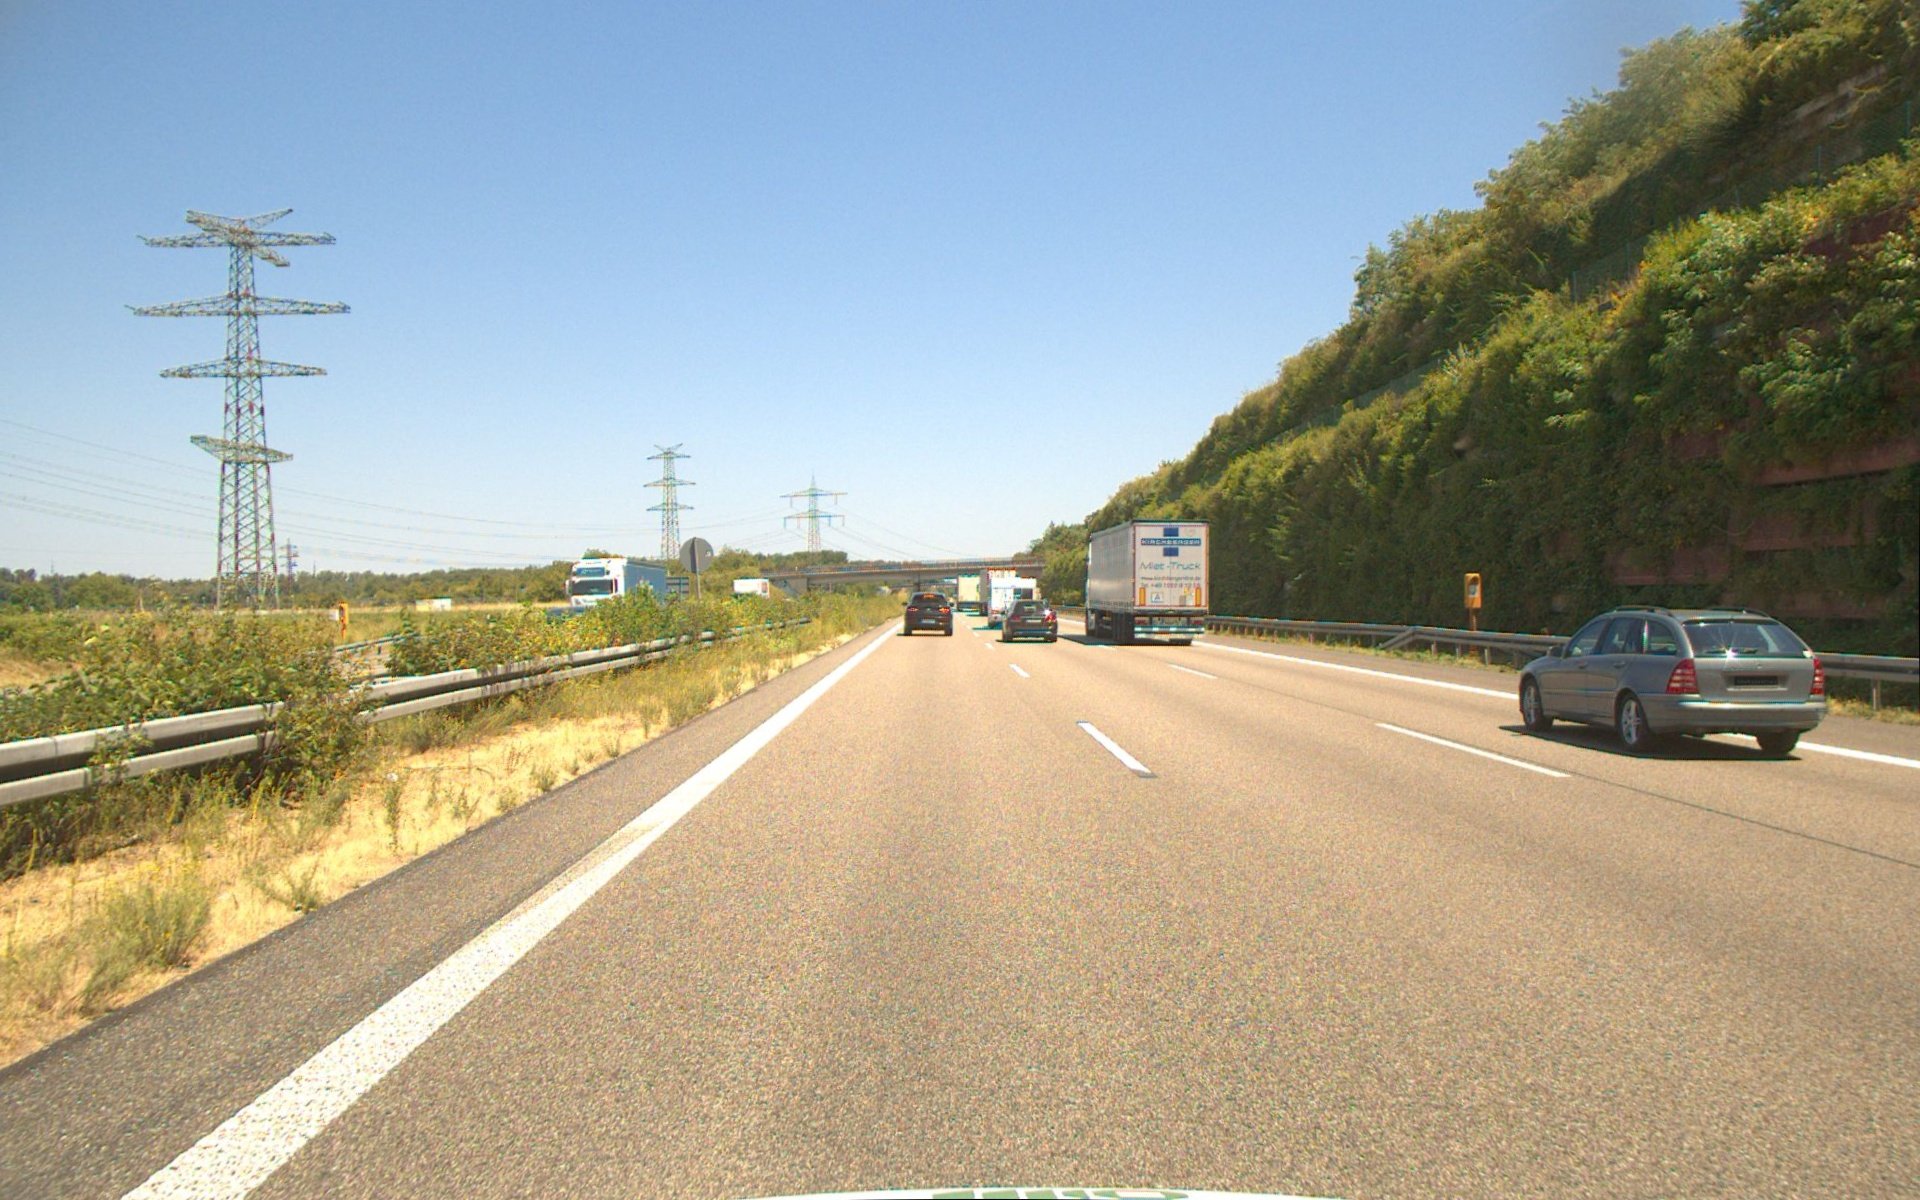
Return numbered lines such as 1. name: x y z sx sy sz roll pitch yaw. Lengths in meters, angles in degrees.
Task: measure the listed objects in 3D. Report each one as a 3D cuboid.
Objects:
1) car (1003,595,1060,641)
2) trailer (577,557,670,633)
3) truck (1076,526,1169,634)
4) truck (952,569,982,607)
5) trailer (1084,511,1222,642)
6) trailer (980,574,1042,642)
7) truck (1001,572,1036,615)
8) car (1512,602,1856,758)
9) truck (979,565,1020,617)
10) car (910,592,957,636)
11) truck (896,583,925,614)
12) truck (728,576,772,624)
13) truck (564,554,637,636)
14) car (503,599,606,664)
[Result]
1. car: 2.507 0.602 58.727 1.792 1.552 3.999 -1 0 -1
2. trailer: -19.103 -0.292 94.836 2.638 4.006 13.906 -1 0 -1
3. truck: 6.580 -0.794 67.661 3.072 4.214 5.502 -1 0 -1
4. truck: 0.803 -1.347 195.839 3.340 4.355 10.605 0 0 -1
5. trailer: 6.741 -0.778 60.079 3.118 4.193 13.428 -1 0 -1
6. trailer: 2.538 0.375 86.010 2.558 3.269 9.949 -1 0 -2
7. truck: 6.114 -0.715 174.891 3.056 4.355 10.165 -1 0 -1
8. car: 7.581 0.758 17.844 1.650 1.453 4.451 0 0 -2
9. truck: 3.451 -0.799 146.329 3.056 4.355 11.930 -1 0 -1
10. car: -1.101 0.557 67.256 1.793 1.700 3.999 -1 0 -2
11. truck: -6.958 -0.186 231.913 3.881 4.185 9.949 -1 0 -2
12. truck: -19.440 -0.045 153.585 2.815 4.249 10.566 -1 0 -1
13. truck: -18.964 -0.267 87.650 2.641 4.140 5.800 -1 0 -1
14. car: -10.234 0.767 42.005 1.716 1.512 4.200 -1 0 -2
